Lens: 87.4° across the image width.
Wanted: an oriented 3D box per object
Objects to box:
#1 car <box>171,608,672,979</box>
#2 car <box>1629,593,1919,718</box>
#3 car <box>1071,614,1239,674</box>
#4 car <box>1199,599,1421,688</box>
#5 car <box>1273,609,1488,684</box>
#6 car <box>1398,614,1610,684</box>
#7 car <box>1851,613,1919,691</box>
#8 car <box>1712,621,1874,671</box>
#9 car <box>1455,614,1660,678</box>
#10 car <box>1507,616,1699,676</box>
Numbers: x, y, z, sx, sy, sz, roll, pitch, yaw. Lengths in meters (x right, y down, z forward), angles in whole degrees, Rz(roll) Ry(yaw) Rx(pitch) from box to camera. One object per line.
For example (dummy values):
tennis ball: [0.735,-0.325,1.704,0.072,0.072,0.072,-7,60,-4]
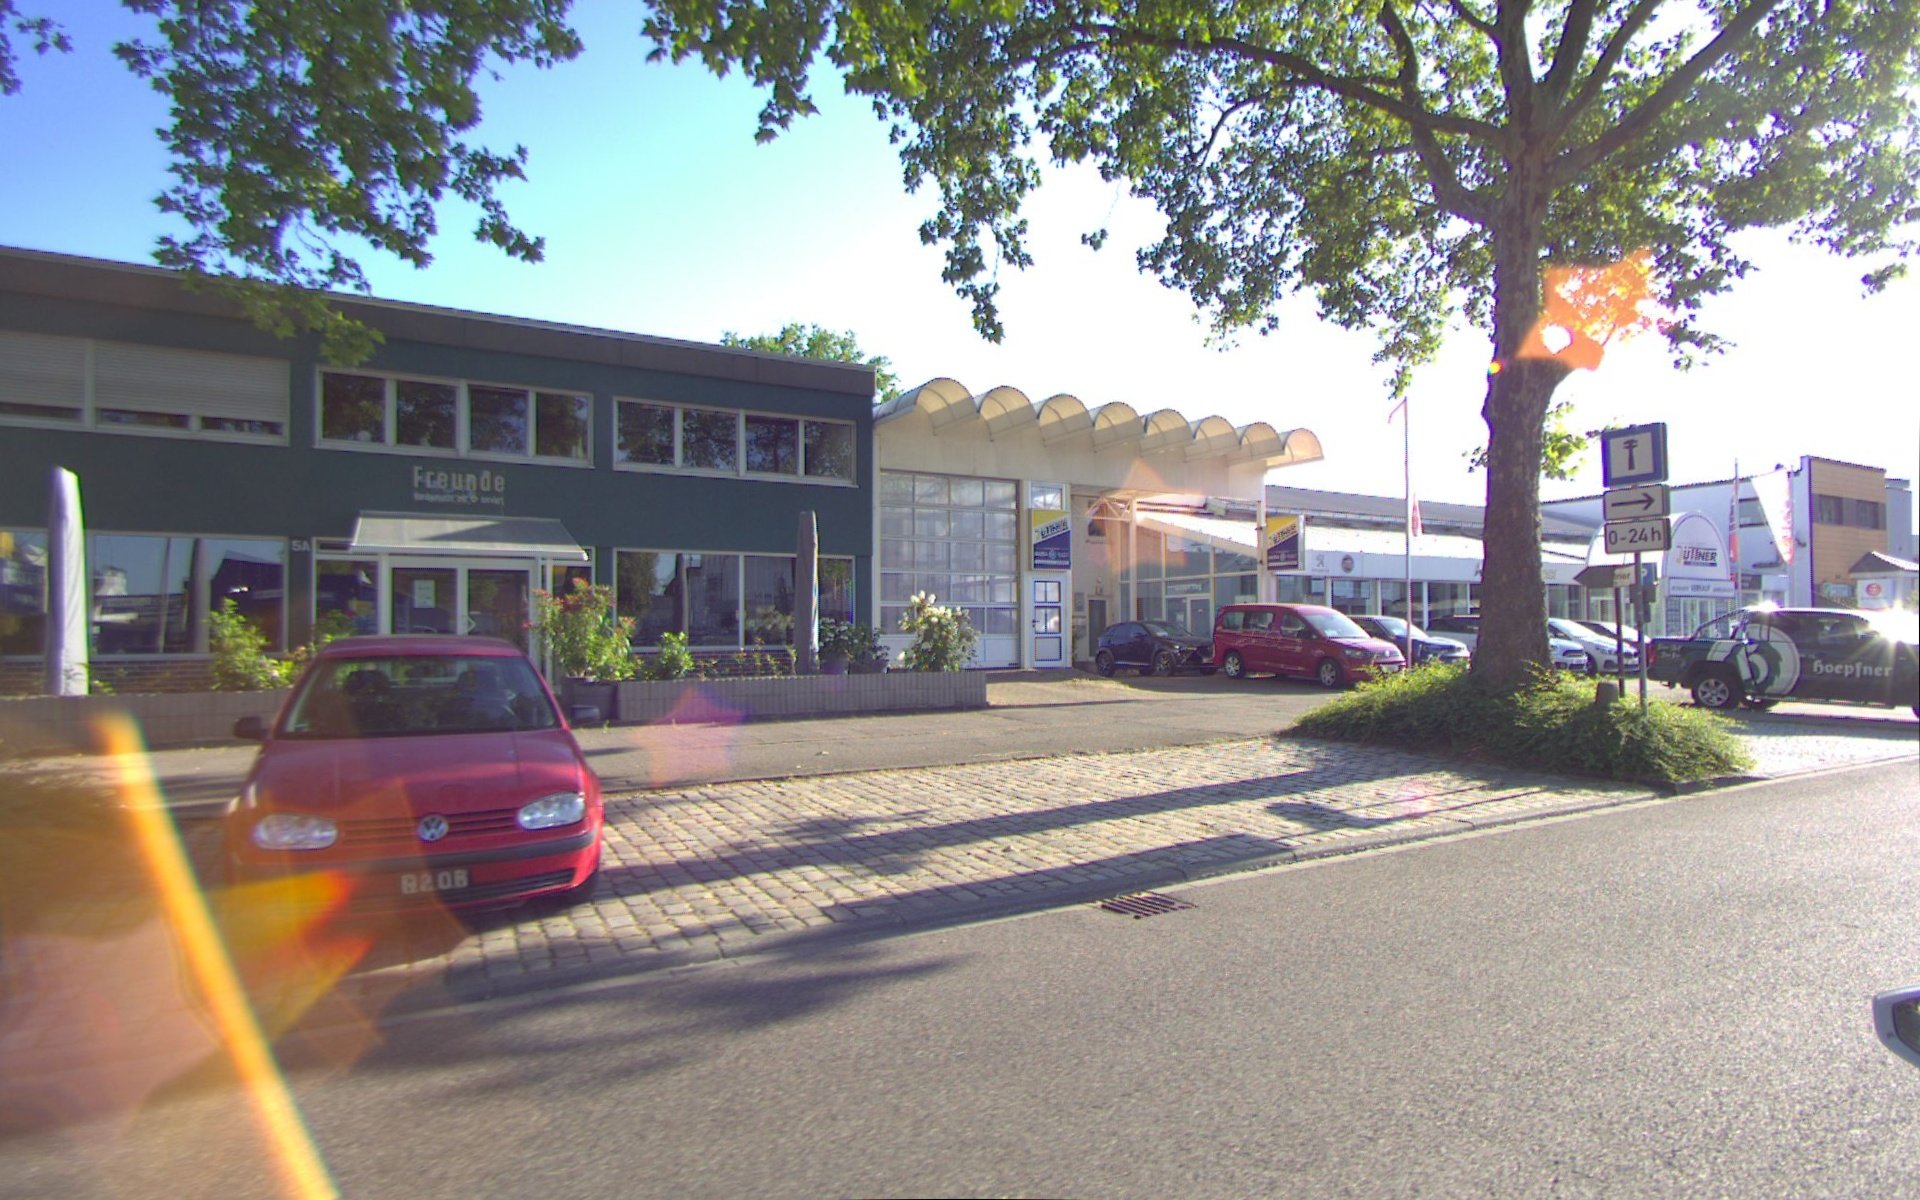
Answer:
car: [-3.365,0.827,6.438,1.976,1.465,4.277,2,-1,-29]
car: [14.969,0.899,17.382,2.176,1.923,5.236,2,-1,-29]
car: [5.319,1.286,28.032,1.977,1.535,4.724,1,-4,-30]
car: [7.964,0.923,23.319,1.977,1.843,4.722,1,-1,-30]
car: [10.281,1.077,24.922,1.977,1.655,4.690,1,-1,-30]
car: [14.504,1.256,27.083,1.977,1.664,4.695,1,-1,-30]
car: [22.057,1.149,21.326,2.177,1.677,4.280,2,-1,-32]
car: [29.312,1.578,35.450,1.976,1.576,3.969,1,-1,-29]
car: [16.719,1.234,28.362,1.906,1.613,4.638,1,-1,-30]
car: [18.821,1.294,29.613,1.815,1.574,4.441,1,-1,-30]
